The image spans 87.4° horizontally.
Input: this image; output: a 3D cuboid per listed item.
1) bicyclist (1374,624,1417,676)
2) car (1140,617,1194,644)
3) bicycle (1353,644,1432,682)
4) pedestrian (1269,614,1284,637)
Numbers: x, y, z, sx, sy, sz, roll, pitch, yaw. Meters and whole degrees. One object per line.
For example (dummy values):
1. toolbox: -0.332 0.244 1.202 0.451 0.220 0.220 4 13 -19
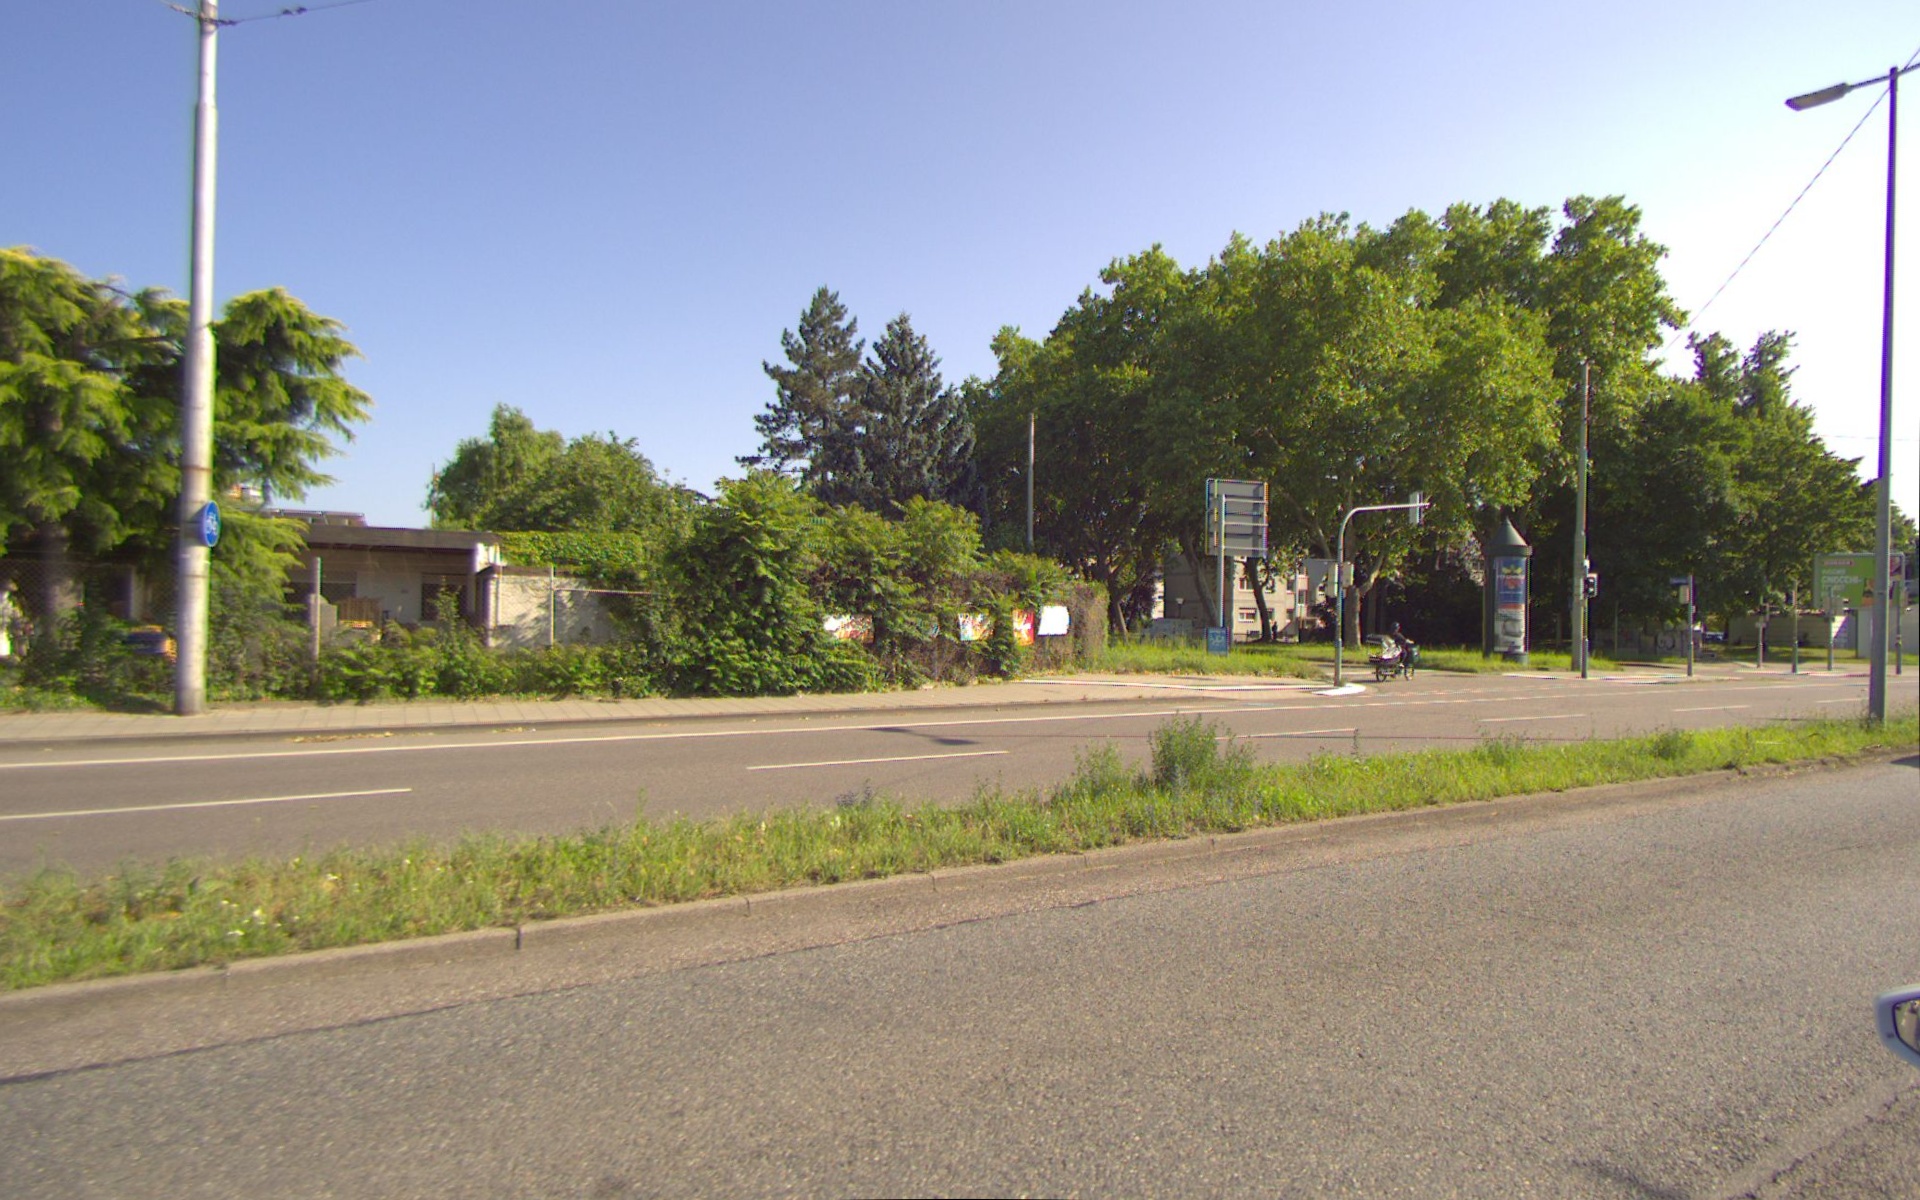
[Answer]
1. bicyclist: 12.800 1.458 29.512 1.037 1.471 0.659 1 -1 -27
2. car: 15.486 2.267 75.434 1.798 1.989 4.378 2 -1 -23
3. bicycle: 12.697 1.831 29.452 2.547 1.063 0.659 2 -1 -27
4. pedestrian: 25.581 2.077 81.213 0.863 1.793 0.685 1 0 -17
